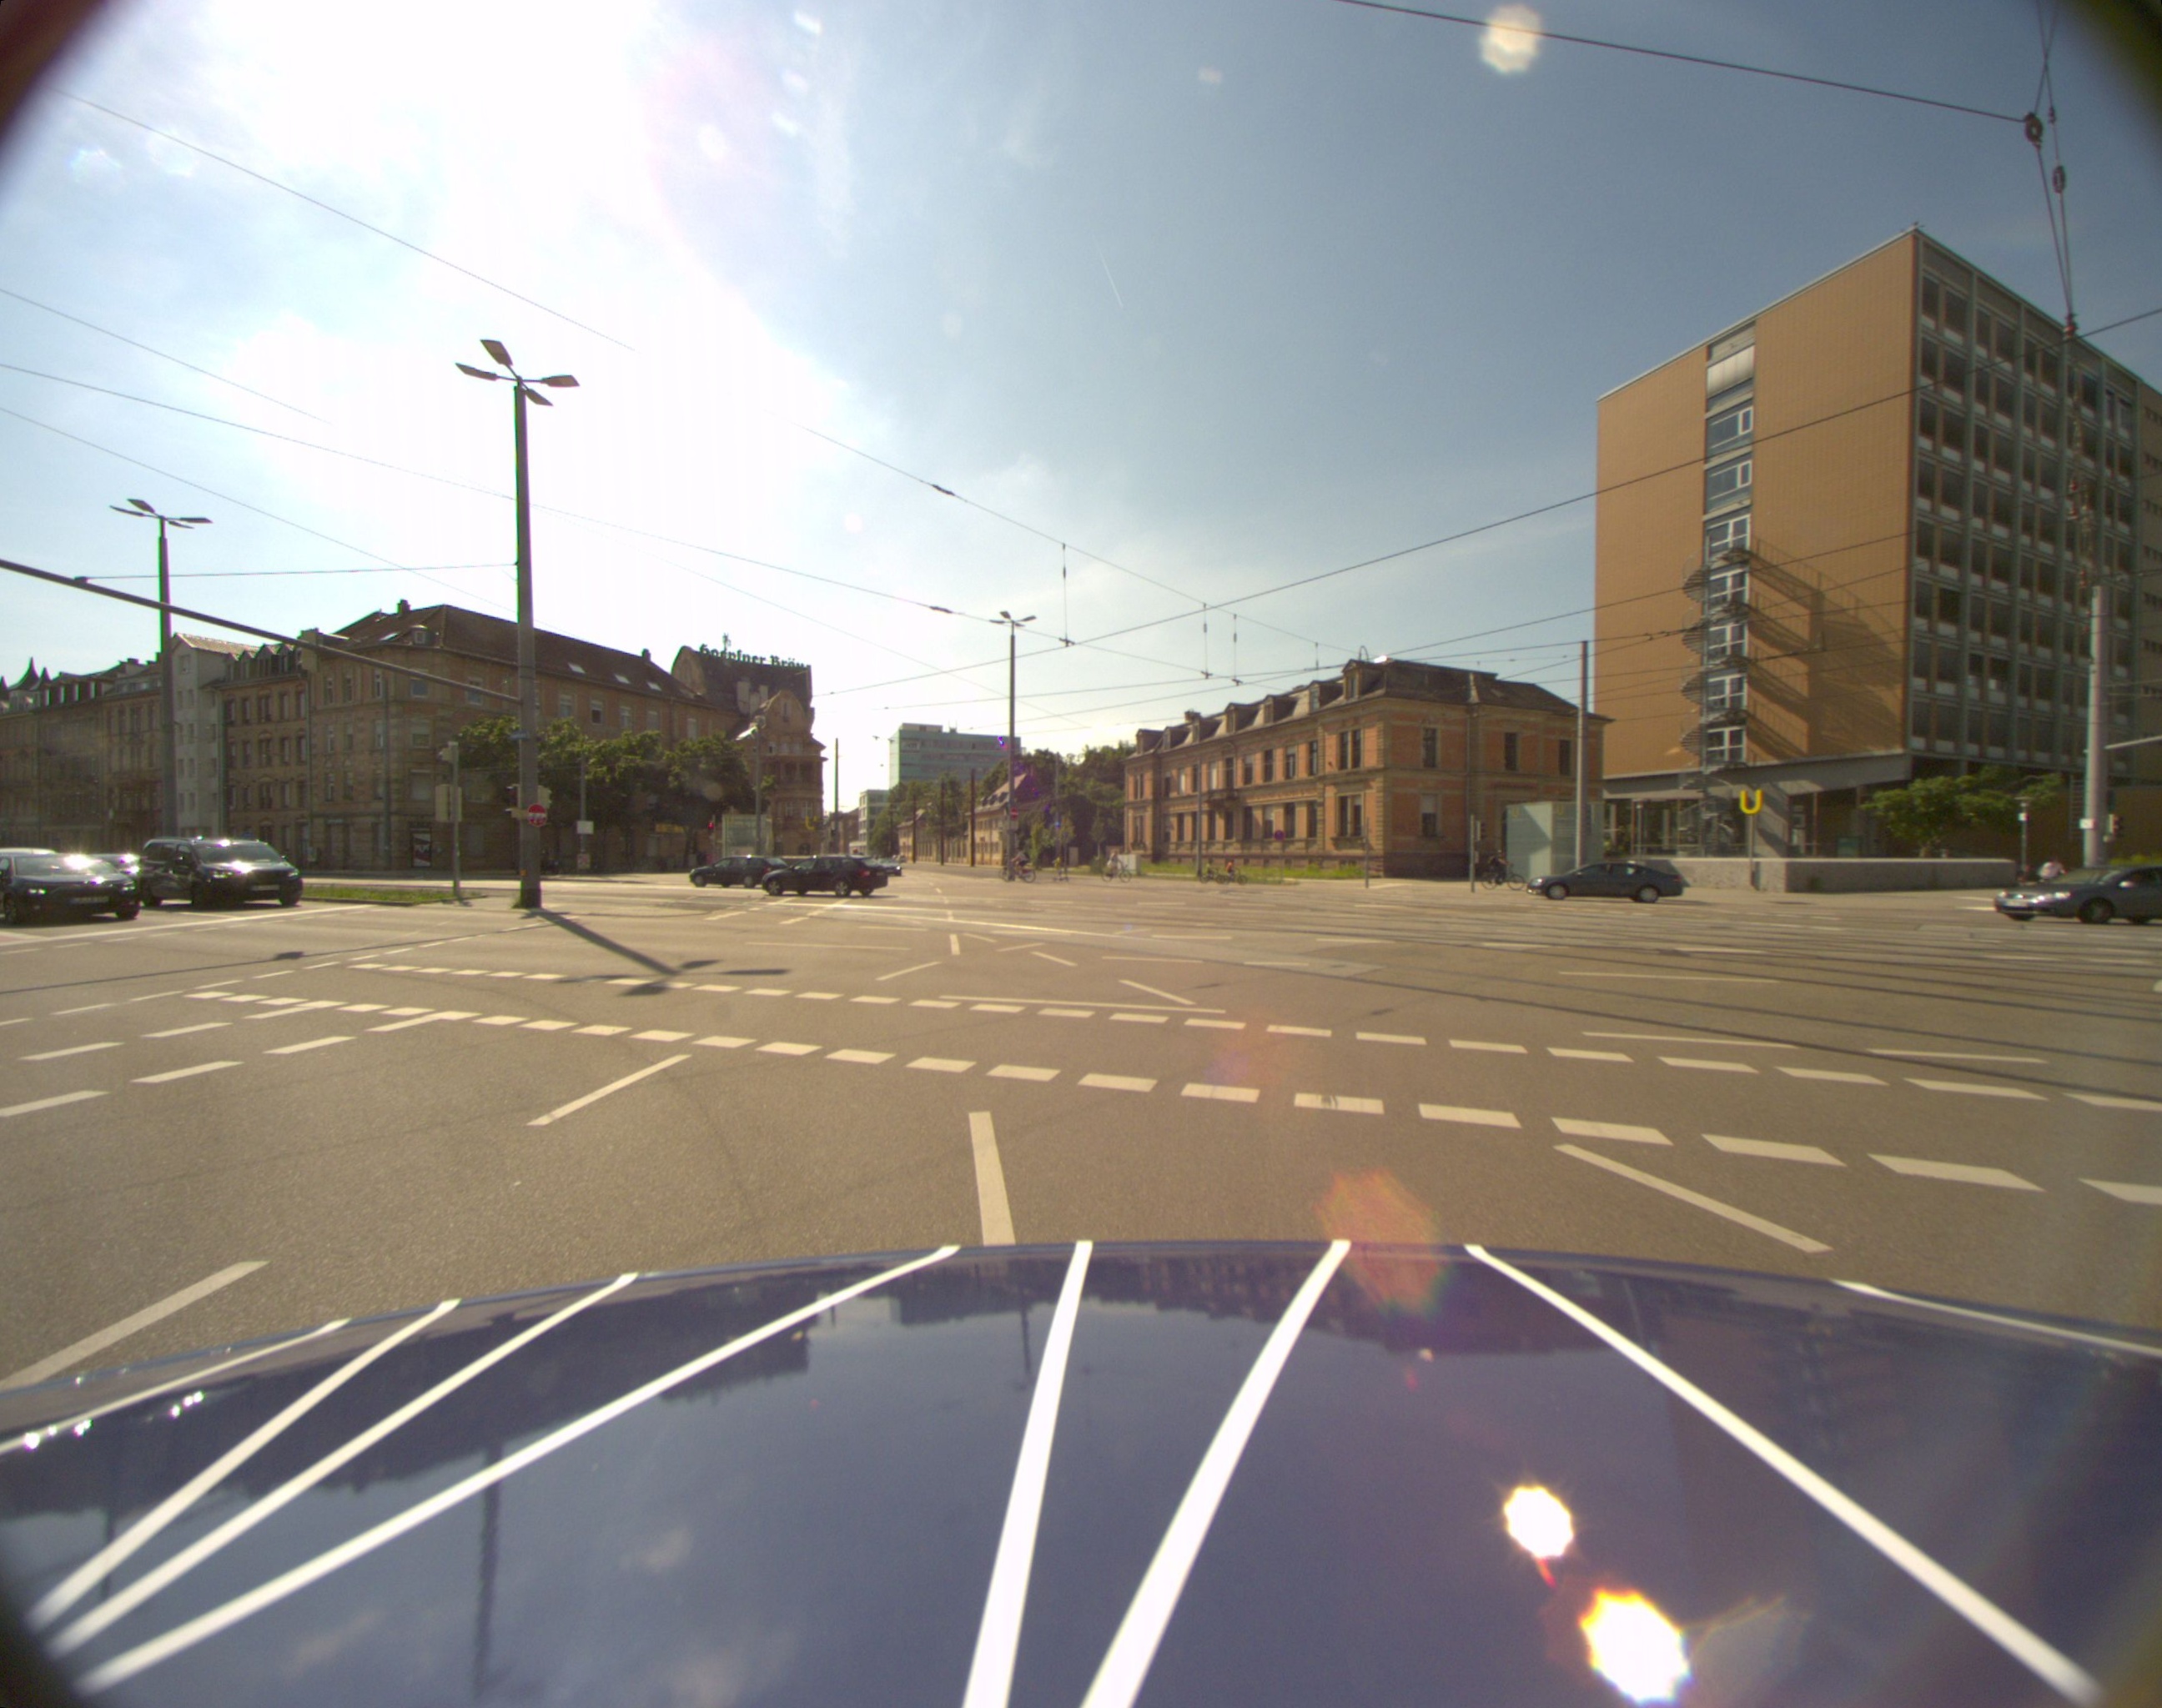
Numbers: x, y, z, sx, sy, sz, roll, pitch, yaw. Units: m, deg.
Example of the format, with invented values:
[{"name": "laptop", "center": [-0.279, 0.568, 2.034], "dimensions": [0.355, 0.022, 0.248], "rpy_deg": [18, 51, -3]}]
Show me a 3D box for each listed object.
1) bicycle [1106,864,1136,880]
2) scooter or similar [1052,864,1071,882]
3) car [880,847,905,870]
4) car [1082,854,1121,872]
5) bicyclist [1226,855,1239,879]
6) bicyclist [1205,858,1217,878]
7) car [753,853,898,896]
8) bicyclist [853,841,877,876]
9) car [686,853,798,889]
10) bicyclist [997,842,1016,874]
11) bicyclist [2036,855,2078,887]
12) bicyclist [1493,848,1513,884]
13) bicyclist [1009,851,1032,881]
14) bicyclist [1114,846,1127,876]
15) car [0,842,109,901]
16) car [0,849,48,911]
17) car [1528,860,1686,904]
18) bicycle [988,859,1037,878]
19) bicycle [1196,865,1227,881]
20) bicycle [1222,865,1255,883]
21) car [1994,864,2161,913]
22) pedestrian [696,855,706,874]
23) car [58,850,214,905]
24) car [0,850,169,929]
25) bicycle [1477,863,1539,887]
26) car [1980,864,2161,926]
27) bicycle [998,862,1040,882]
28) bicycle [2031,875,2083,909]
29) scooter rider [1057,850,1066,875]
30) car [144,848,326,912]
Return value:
[{"name": "bicycle", "center": [2.201, 0.971, 41.956], "dimensions": [1.584, 0.860, 0.502], "rpy_deg": [0, -1, 12]}, {"name": "scooter or similar", "center": [-1.103, 1.091, 43.276], "dimensions": [0.990, 0.970, 0.589], "rpy_deg": [0, -1, 7]}, {"name": "car", "center": [-13.616, 0.304, 54.972], "dimensions": [1.639, 1.574, 3.995], "rpy_deg": [0, 0, -12]}, {"name": "car", "center": [1.556, 0.663, 59.302], "dimensions": [1.674, 1.306, 3.444], "rpy_deg": [0, 0, -26]}, {"name": "bicyclist", "center": [7.865, 0.666, 39.531], "dimensions": [0.603, 1.190, 0.520], "rpy_deg": [1, 1, 4]}, {"name": "bicyclist", "center": [7.017, 0.754, 40.949], "dimensions": [0.604, 1.023, 0.502], "rpy_deg": [1, -1, 6]}, {"name": "car", "center": [-9.117, 0.694, 27.209], "dimensions": [4.771, 1.427, 1.637], "rpy_deg": [0, 1, 13]}, {"name": "bicyclist", "center": [-10.770, 0.215, 37.877], "dimensions": [0.873, 1.660, 0.717], "rpy_deg": [0, 3, 15]}, {"name": "car", "center": [-14.893, 0.718, 33.432], "dimensions": [4.389, 1.421, 1.707], "rpy_deg": [1, 1, 15]}, {"name": "bicyclist", "center": [-4.221, 0.245, 42.874], "dimensions": [1.052, 1.809, 0.929], "rpy_deg": [0, -1, -8]}, {"name": "bicyclist", "center": [33.677, 0.586, 26.233], "dimensions": [0.714, 1.023, 0.918], "rpy_deg": [1, 3, 41]}, {"name": "bicyclist", "center": [19.316, 0.530, 34.806], "dimensions": [0.780, 1.615, 0.670], "rpy_deg": [0, 2, 31]}, {"name": "bicyclist", "center": [-3.048, 0.614, 38.314], "dimensions": [0.948, 1.478, 0.718], "rpy_deg": [-1, -1, 21]}, {"name": "bicyclist", "center": [2.182, 0.378, 41.972], "dimensions": [0.648, 1.611, 0.502], "rpy_deg": [0, -1, 13]}, {"name": "car", "center": [-36.122, 0.600, 26.414], "dimensions": [4.190, 1.905, 1.904], "rpy_deg": [-1, 0, 24]}, {"name": "car", "center": [-29.314, 0.694, 19.882], "dimensions": [3.990, 1.578, 1.904], "rpy_deg": [-1, 0, 25]}, {"name": "car", "center": [19.023, 0.976, 27.717], "dimensions": [4.517, 1.427, 1.639], "rpy_deg": [0, 1, 25]}, {"name": "bicycle", "center": [-3.879, 0.804, 42.920], "dimensions": [2.746, 1.062, 0.929], "rpy_deg": [0, -1, -6]}, {"name": "bicycle", "center": [7.035, 1.029, 40.944], "dimensions": [1.585, 0.860, 0.502], "rpy_deg": [1, -1, 6]}, {"name": "bicycle", "center": [8.162, 1.055, 39.432], "dimensions": [1.573, 0.881, 0.520], "rpy_deg": [1, 1, 4]}, {"name": "car", "center": [31.464, 1.063, 23.555], "dimensions": [3.752, 1.465, 1.685], "rpy_deg": [-1, -2, 15]}, {"name": "pedestrian", "center": [-29.742, 0.822, 59.456], "dimensions": [0.714, 1.424, 0.612], "rpy_deg": [0, -1, -30]}, {"name": "car", "center": [-29.175, 0.696, 23.477], "dimensions": [3.991, 1.578, 1.903], "rpy_deg": [-1, 0, 22]}, {"name": "car", "center": [-22.834, 0.728, 17.087], "dimensions": [4.200, 1.578, 1.901], "rpy_deg": [0, 1, 25]}, {"name": "bicycle", "center": [19.500, 0.940, 34.754], "dimensions": [2.456, 1.063, 0.670], "rpy_deg": [0, 1, 30]}, {"name": "car", "center": [25.252, 0.984, 18.643], "dimensions": [4.115, 1.416, 1.652], "rpy_deg": [0, 1, 6]}, {"name": "bicycle", "center": [-3.120, 0.921, 38.340], "dimensions": [2.016, 1.009, 0.718], "rpy_deg": [-1, -2, 21]}, {"name": "bicycle", "center": [33.646, 1.279, 26.212], "dimensions": [0.714, 1.010, 1.922], "rpy_deg": [1, 3, 41]}, {"name": "scooter rider", "center": [-1.127, 0.496, 43.287], "dimensions": [0.406, 1.388, 0.589], "rpy_deg": [0, -1, 7]}, {"name": "car", "center": [-22.966, 0.631, 20.614], "dimensions": [4.704, 1.578, 1.971], "rpy_deg": [0, 1, 25]}]
